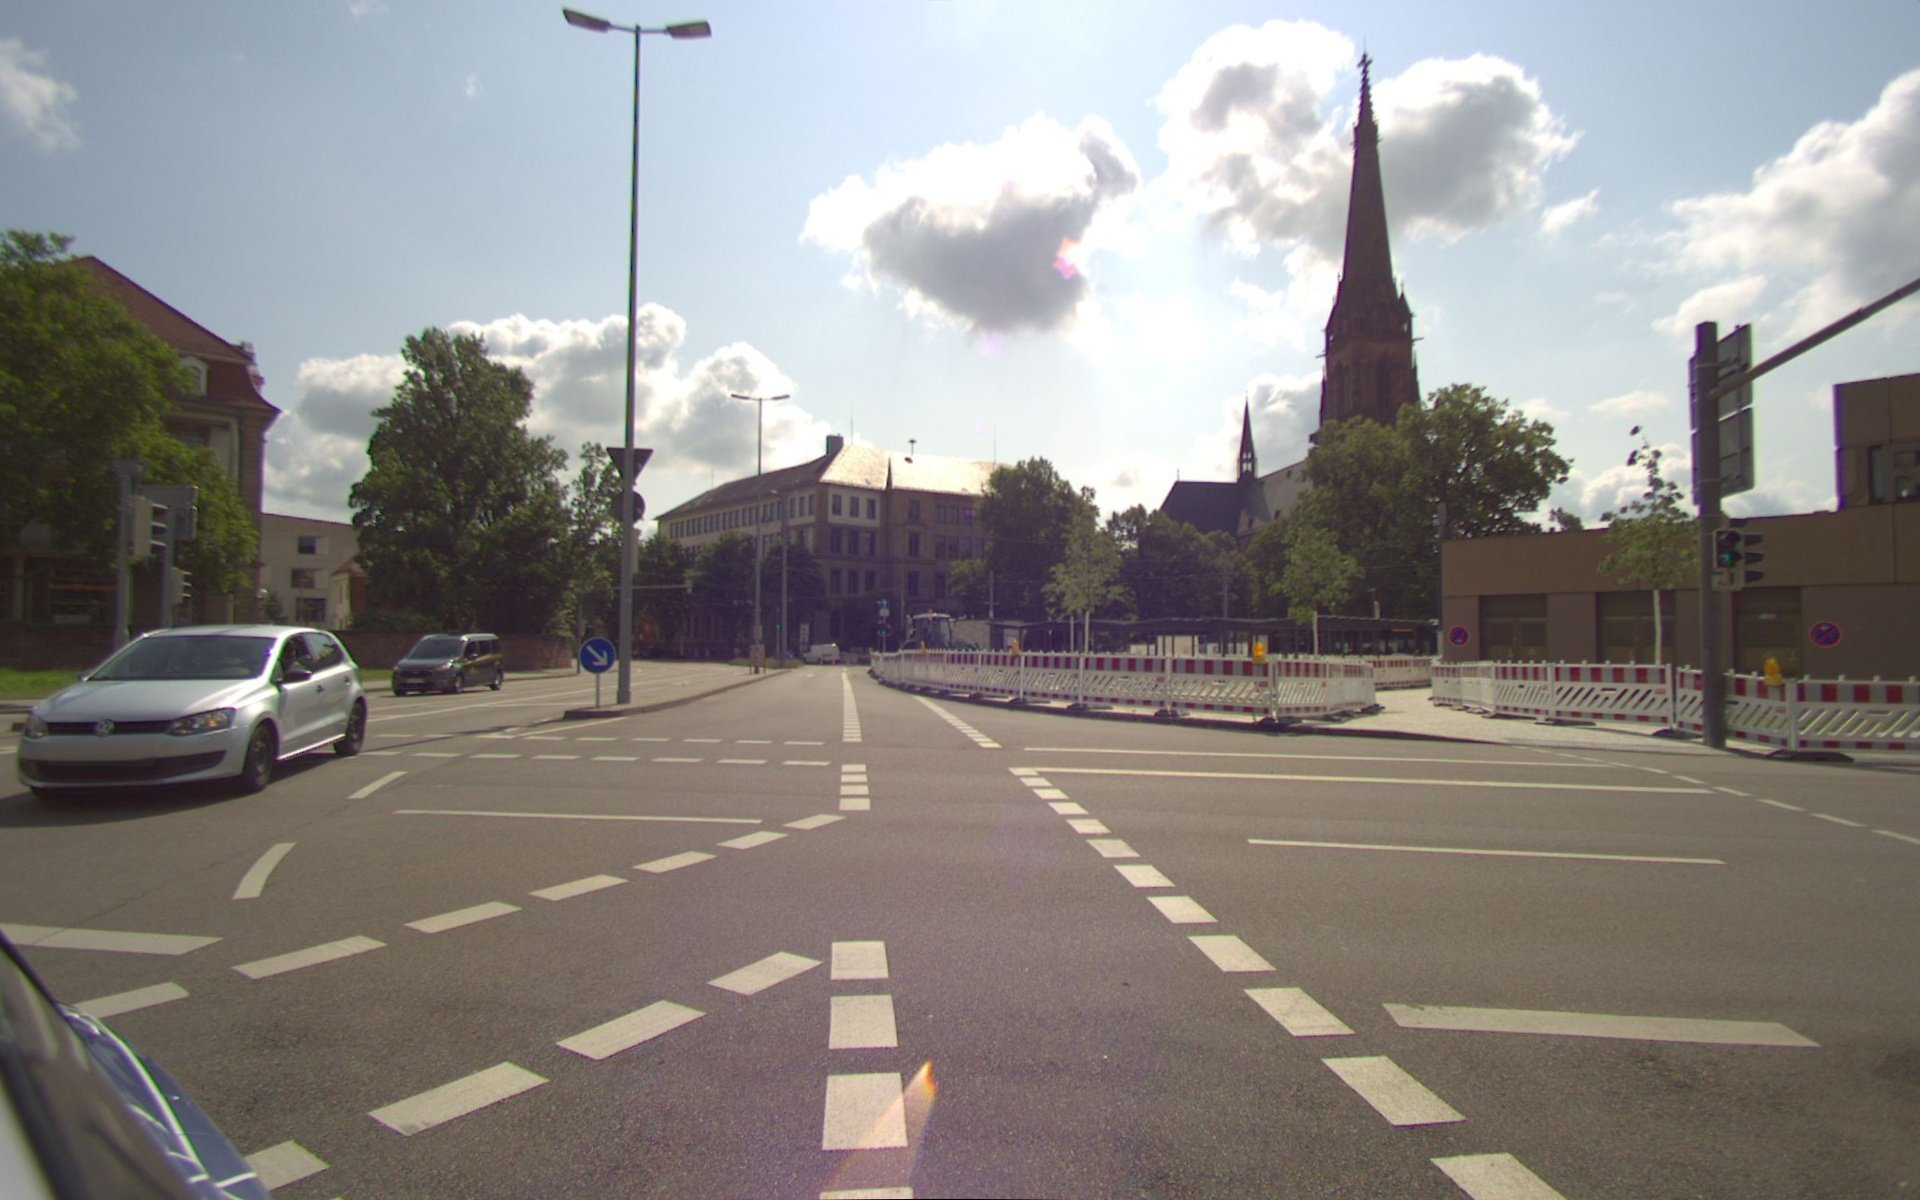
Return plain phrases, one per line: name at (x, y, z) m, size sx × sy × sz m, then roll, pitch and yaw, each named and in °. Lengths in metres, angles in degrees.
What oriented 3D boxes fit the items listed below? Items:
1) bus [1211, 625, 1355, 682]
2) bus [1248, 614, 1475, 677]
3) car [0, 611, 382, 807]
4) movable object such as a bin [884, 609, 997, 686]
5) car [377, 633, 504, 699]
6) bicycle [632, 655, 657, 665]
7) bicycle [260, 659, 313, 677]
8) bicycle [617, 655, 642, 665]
bus at (18.414, 3.066, 58.166) m, size 2.337 × 3.082 × 7.774 m, roll 3°, pitch -4°, yaw -41°
bus at (22.593, 2.574, 57.994) m, size 2.947 × 3.287 × 12.092 m, roll 3°, pitch -3°, yaw -41°
car at (-7.052, 0.904, 9.627) m, size 1.628 × 1.453 × 4.015 m, roll 1°, pitch -3°, yaw -14°
movable object such as a bin at (-0.838, 1.965, 41.561) m, size 4.448 × 2.972 × 1.973 m, roll -2°, pitch -4°, yaw 41°
car at (-15.629, 1.989, 30.747) m, size 1.826 × 1.799 × 4.676 m, roll -1°, pitch -3°, yaw -5°
bicycle at (-40.349, 7.642, 129.550) m, size 2.856 × 1.216 × 1.049 m, roll 0°, pitch 0°, yaw 1°
bicycle at (-33.481, 3.388, 50.330) m, size 0.857 × 0.867 × 2.035 m, roll 0°, pitch -3°, yaw 37°
bicycle at (-42.925, 7.812, 131.483) m, size 2.856 × 1.216 × 1.073 m, roll 0°, pitch 0°, yaw 1°
